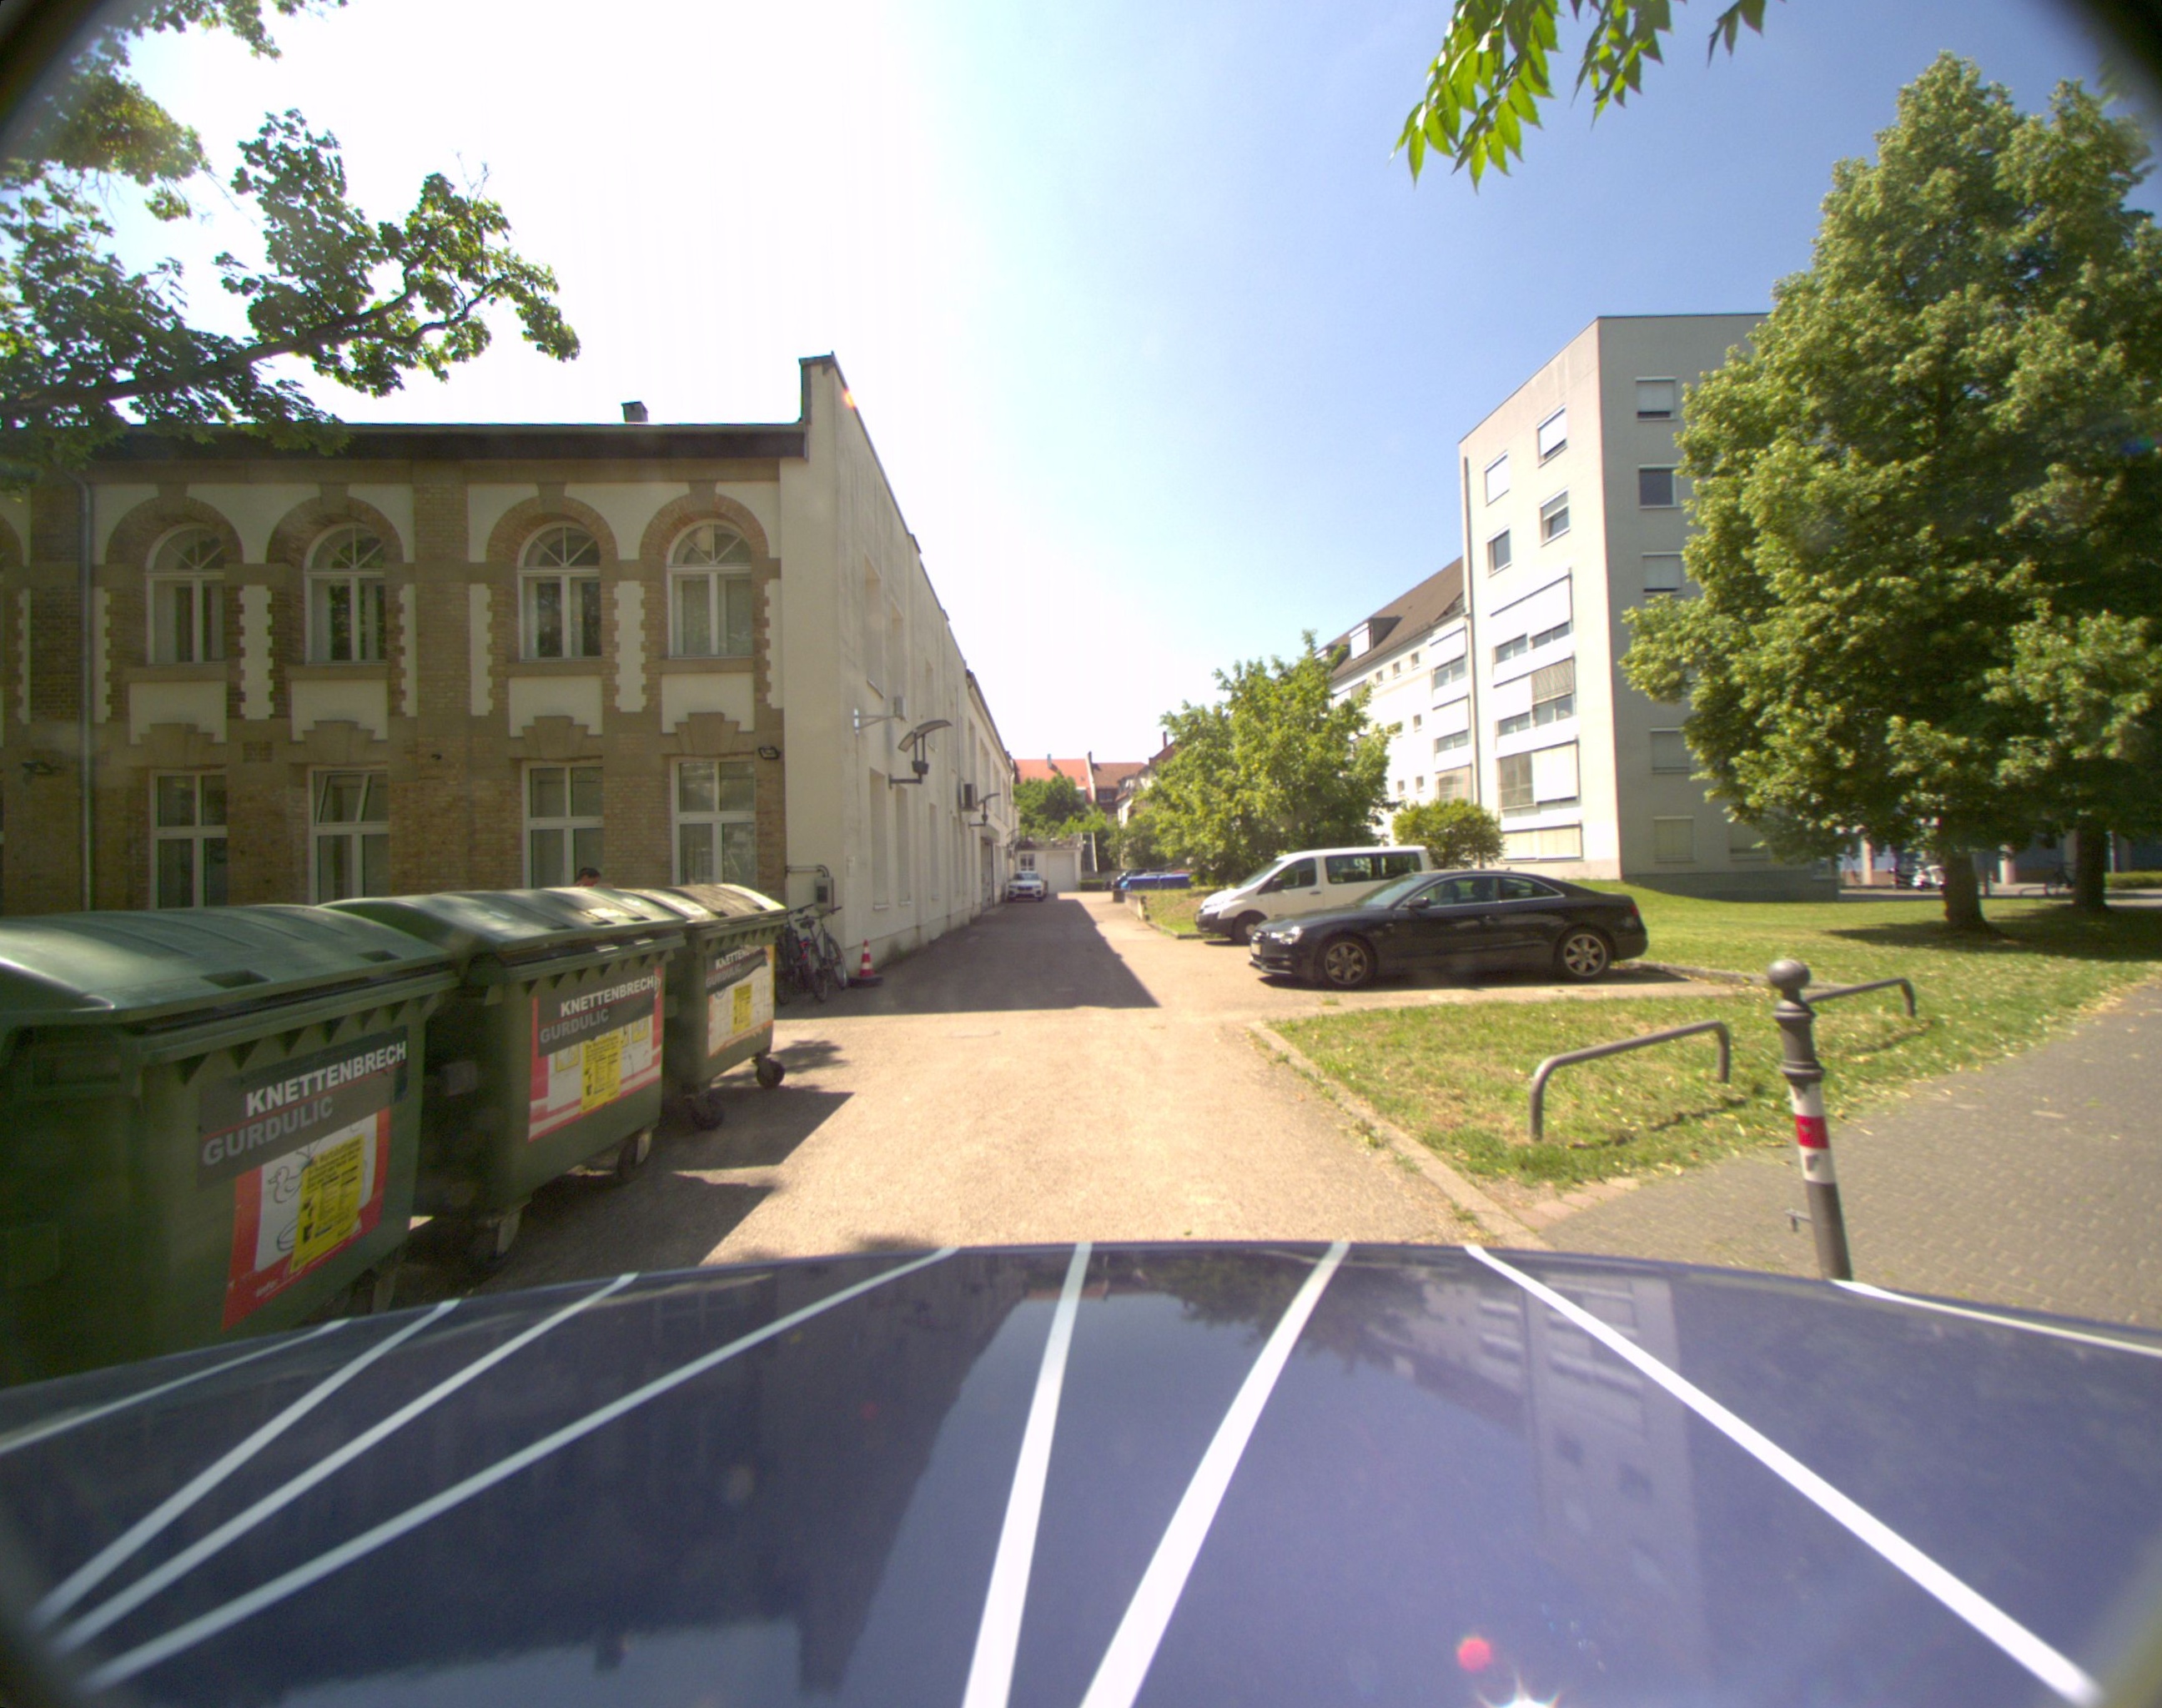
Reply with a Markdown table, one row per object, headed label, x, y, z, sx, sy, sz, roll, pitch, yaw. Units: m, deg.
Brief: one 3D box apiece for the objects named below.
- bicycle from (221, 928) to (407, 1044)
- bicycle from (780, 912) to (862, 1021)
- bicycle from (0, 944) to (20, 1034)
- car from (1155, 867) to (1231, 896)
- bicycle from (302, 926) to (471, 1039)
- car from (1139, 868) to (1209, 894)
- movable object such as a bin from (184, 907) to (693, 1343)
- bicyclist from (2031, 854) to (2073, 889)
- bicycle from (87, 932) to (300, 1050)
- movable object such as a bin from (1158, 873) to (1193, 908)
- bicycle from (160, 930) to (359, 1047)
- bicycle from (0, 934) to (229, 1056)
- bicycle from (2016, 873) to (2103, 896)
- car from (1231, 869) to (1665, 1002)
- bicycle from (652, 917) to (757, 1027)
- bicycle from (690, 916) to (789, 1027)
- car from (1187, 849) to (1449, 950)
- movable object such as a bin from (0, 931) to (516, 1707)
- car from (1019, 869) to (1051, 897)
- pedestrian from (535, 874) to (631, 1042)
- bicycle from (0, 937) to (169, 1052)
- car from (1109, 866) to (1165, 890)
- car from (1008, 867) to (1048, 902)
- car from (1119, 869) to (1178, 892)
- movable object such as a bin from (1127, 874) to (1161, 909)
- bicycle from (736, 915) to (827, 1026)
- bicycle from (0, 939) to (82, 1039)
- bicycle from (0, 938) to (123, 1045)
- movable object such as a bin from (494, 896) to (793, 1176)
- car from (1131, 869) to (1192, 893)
| label | x | y | z | sx | sy | sz | roll | pitch | yaw |
| --- | --- | --- | --- | --- | --- | --- | --- | --- | --- |
| bicycle | -9.197 | 1.530 | 9.220 | 0.406 | 1.095 | 1.826 | -2 | 0 | -1 |
| bicycle | -3.192 | 1.341 | 9.473 | 0.406 | 1.095 | 1.826 | -2 | 0 | -1 |
| bicycle | -13.575 | 1.672 | 8.657 | 0.406 | 1.095 | 1.826 | -2 | 0 | -1 |
| car | 6.749 | 1.642 | 46.016 | 4.224 | 1.559 | 1.612 | -2 | 0 | -7 |
| bicycle | -8.423 | 1.510 | 9.327 | 0.406 | 1.095 | 1.826 | -2 | 0 | -1 |
| car | 6.014 | 1.732 | 49.303 | 4.224 | 1.559 | 1.612 | -2 | 0 | -7 |
| movable object such as a bin | -2.656 | 1.021 | 3.415 | 1.078 | 1.449 | 1.377 | -2 | 0 | 0 |
| bicyclist | 28.982 | 0.529 | 22.688 | 0.522 | 1.038 | 0.518 | -1 | -3 | 1 |
| bicycle | -10.481 | 1.565 | 9.087 | 0.406 | 1.095 | 1.826 | -2 | 0 | -1 |
| movable object such as a bin | 3.905 | 1.513 | 31.544 | 1.271 | 1.380 | 1.095 | -2 | 0 | -1 |
| bicycle | -9.769 | 1.546 | 9.145 | 0.406 | 1.095 | 1.826 | -2 | 0 | -1 |
| bicycle | -11.242 | 1.585 | 8.929 | 0.406 | 1.095 | 1.826 | -2 | 0 | -1 |
| bicycle | 29.188 | 0.912 | 22.678 | 1.615 | 0.637 | 0.735 | -2 | -3 | 0 |
| car | 4.316 | 0.972 | 9.568 | 4.440 | 1.371 | 2.025 | -2 | -3 | 1 |
| bicycle | -4.617 | 1.403 | 9.446 | 0.406 | 1.095 | 1.826 | -2 | 0 | -1 |
| bicycle | -4.178 | 1.391 | 9.431 | 0.406 | 1.095 | 1.826 | -2 | 0 | -1 |
| car | 4.834 | 0.918 | 16.084 | 4.859 | 1.872 | 2.068 | -2 | 0 | 1 |
| movable object such as a bin | -2.518 | 1.001 | 1.945 | 1.078 | 1.449 | 1.377 | -2 | 0 | 0 |
| car | -3.120 | 1.965 | 52.423 | 2.011 | 1.792 | 4.727 | -2 | -1 | -1 |
| pedestrian | -5.456 | 1.105 | 8.356 | 0.552 | 1.738 | 0.689 | -2 | 0 | 0 |
| bicycle | -11.886 | 1.602 | 8.816 | 0.406 | 1.095 | 1.826 | -2 | 0 | -1 |
| car | 4.517 | 1.959 | 61.879 | 4.224 | 1.812 | 2.009 | -2 | 0 | -7 |
| car | -2.996 | 1.715 | 43.622 | 2.011 | 1.792 | 4.727 | -2 | -1 | -1 |
| car | 5.211 | 2.034 | 58.959 | 4.224 | 1.559 | 1.612 | -2 | 0 | -7 |
| movable object such as a bin | 2.607 | 1.549 | 31.488 | 1.271 | 1.380 | 1.095 | -2 | 0 | -1 |
| bicycle | -3.660 | 1.376 | 9.411 | 0.406 | 1.095 | 1.826 | -2 | 0 | -1 |
| bicycle | -12.945 | 1.632 | 8.775 | 0.406 | 1.095 | 1.826 | -2 | 0 | -1 |
| bicycle | -12.422 | 1.617 | 8.778 | 0.406 | 1.095 | 1.826 | -2 | 0 | -1 |
| movable object such as a bin | -2.663 | 1.037 | 4.859 | 1.078 | 1.449 | 1.377 | -2 | 0 | 0 |
| car | 5.895 | 1.962 | 55.917 | 4.224 | 1.559 | 1.612 | -2 | 0 | -7 |
